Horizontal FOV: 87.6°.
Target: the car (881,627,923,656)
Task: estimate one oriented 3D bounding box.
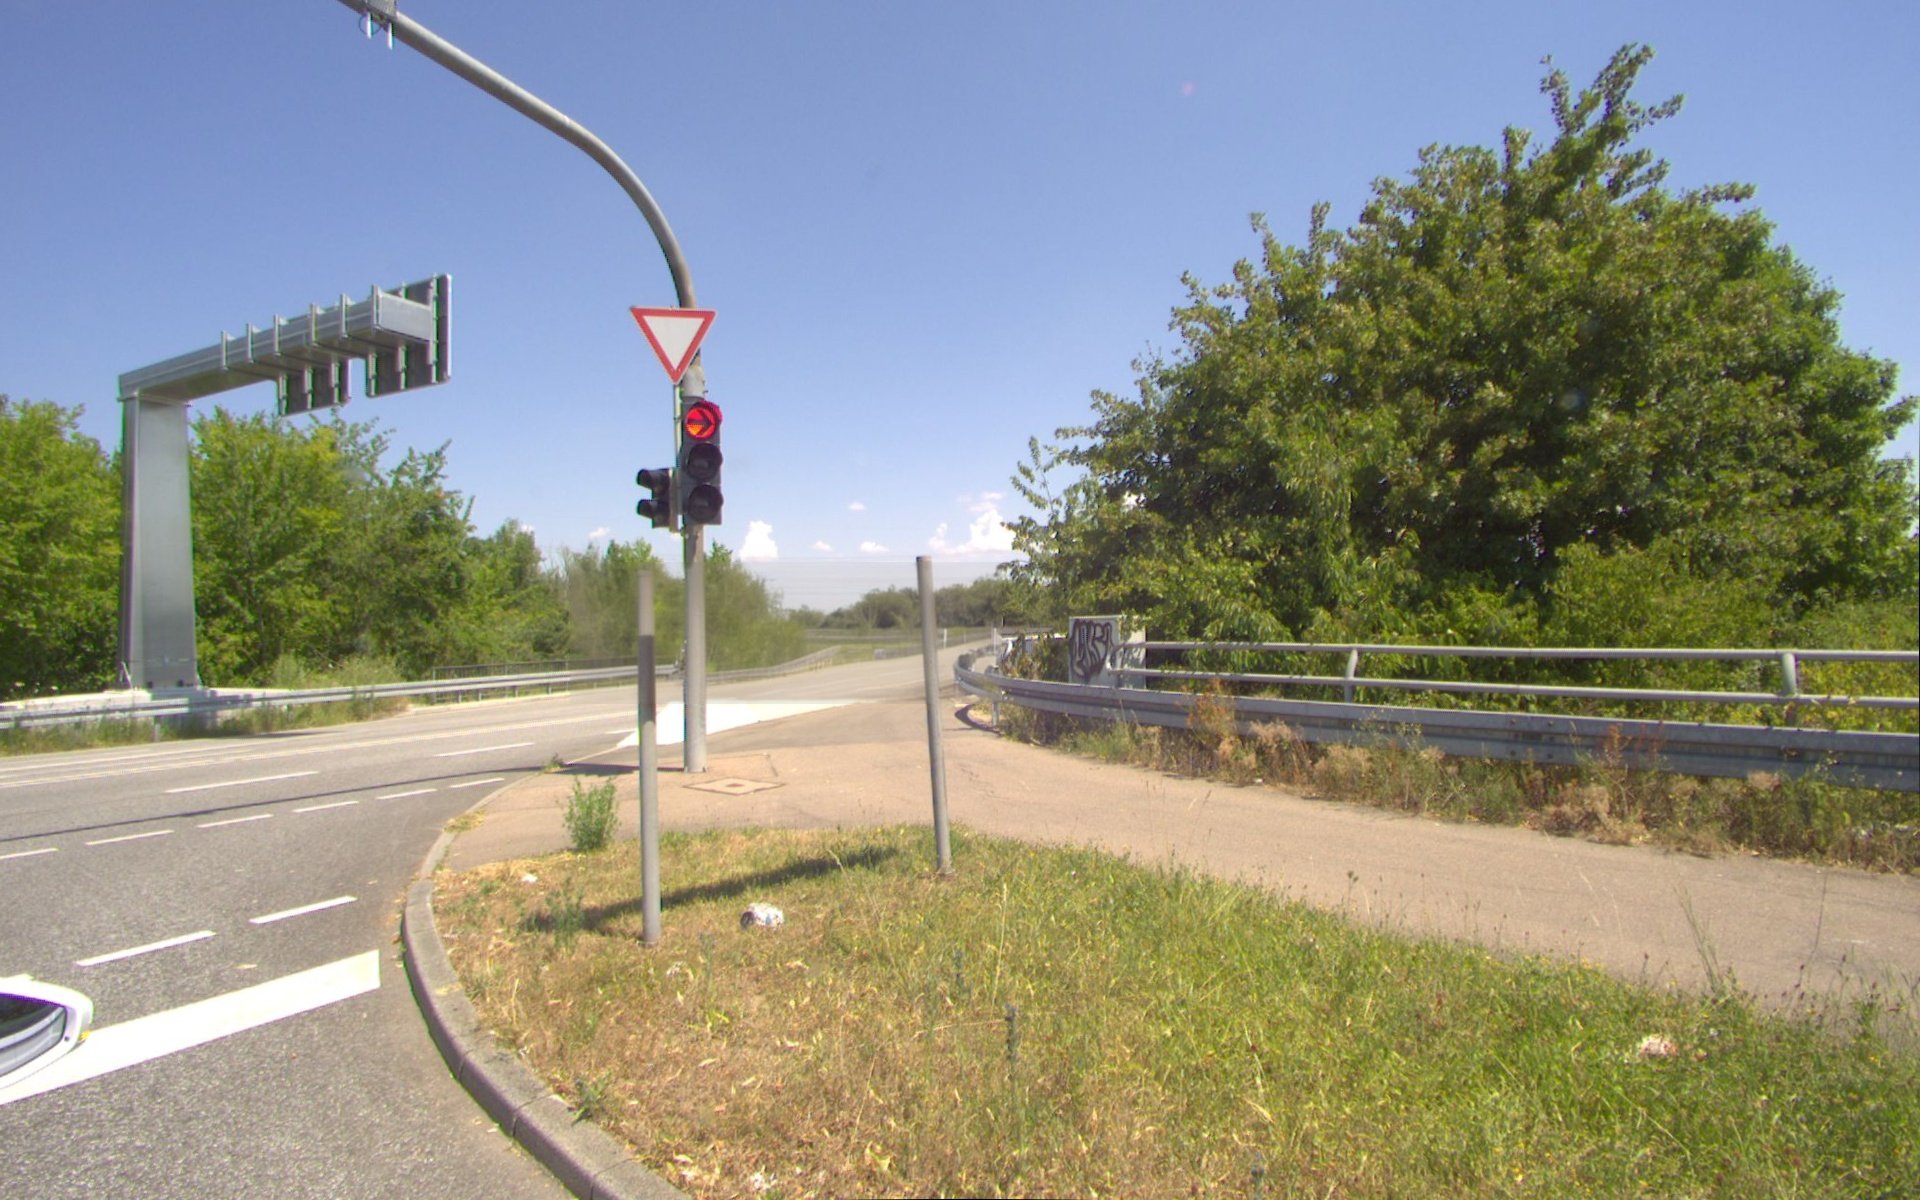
[{"bbox_3d":[-3.532,2.517,61.820,1.868,1.653,4.276,-1,-1,6],"label":"car"}]

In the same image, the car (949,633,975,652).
[{"bbox_3d":[0.180,3.457,80.230,1.619,1.368,3.972,-4,-3,5],"label":"car"}]
